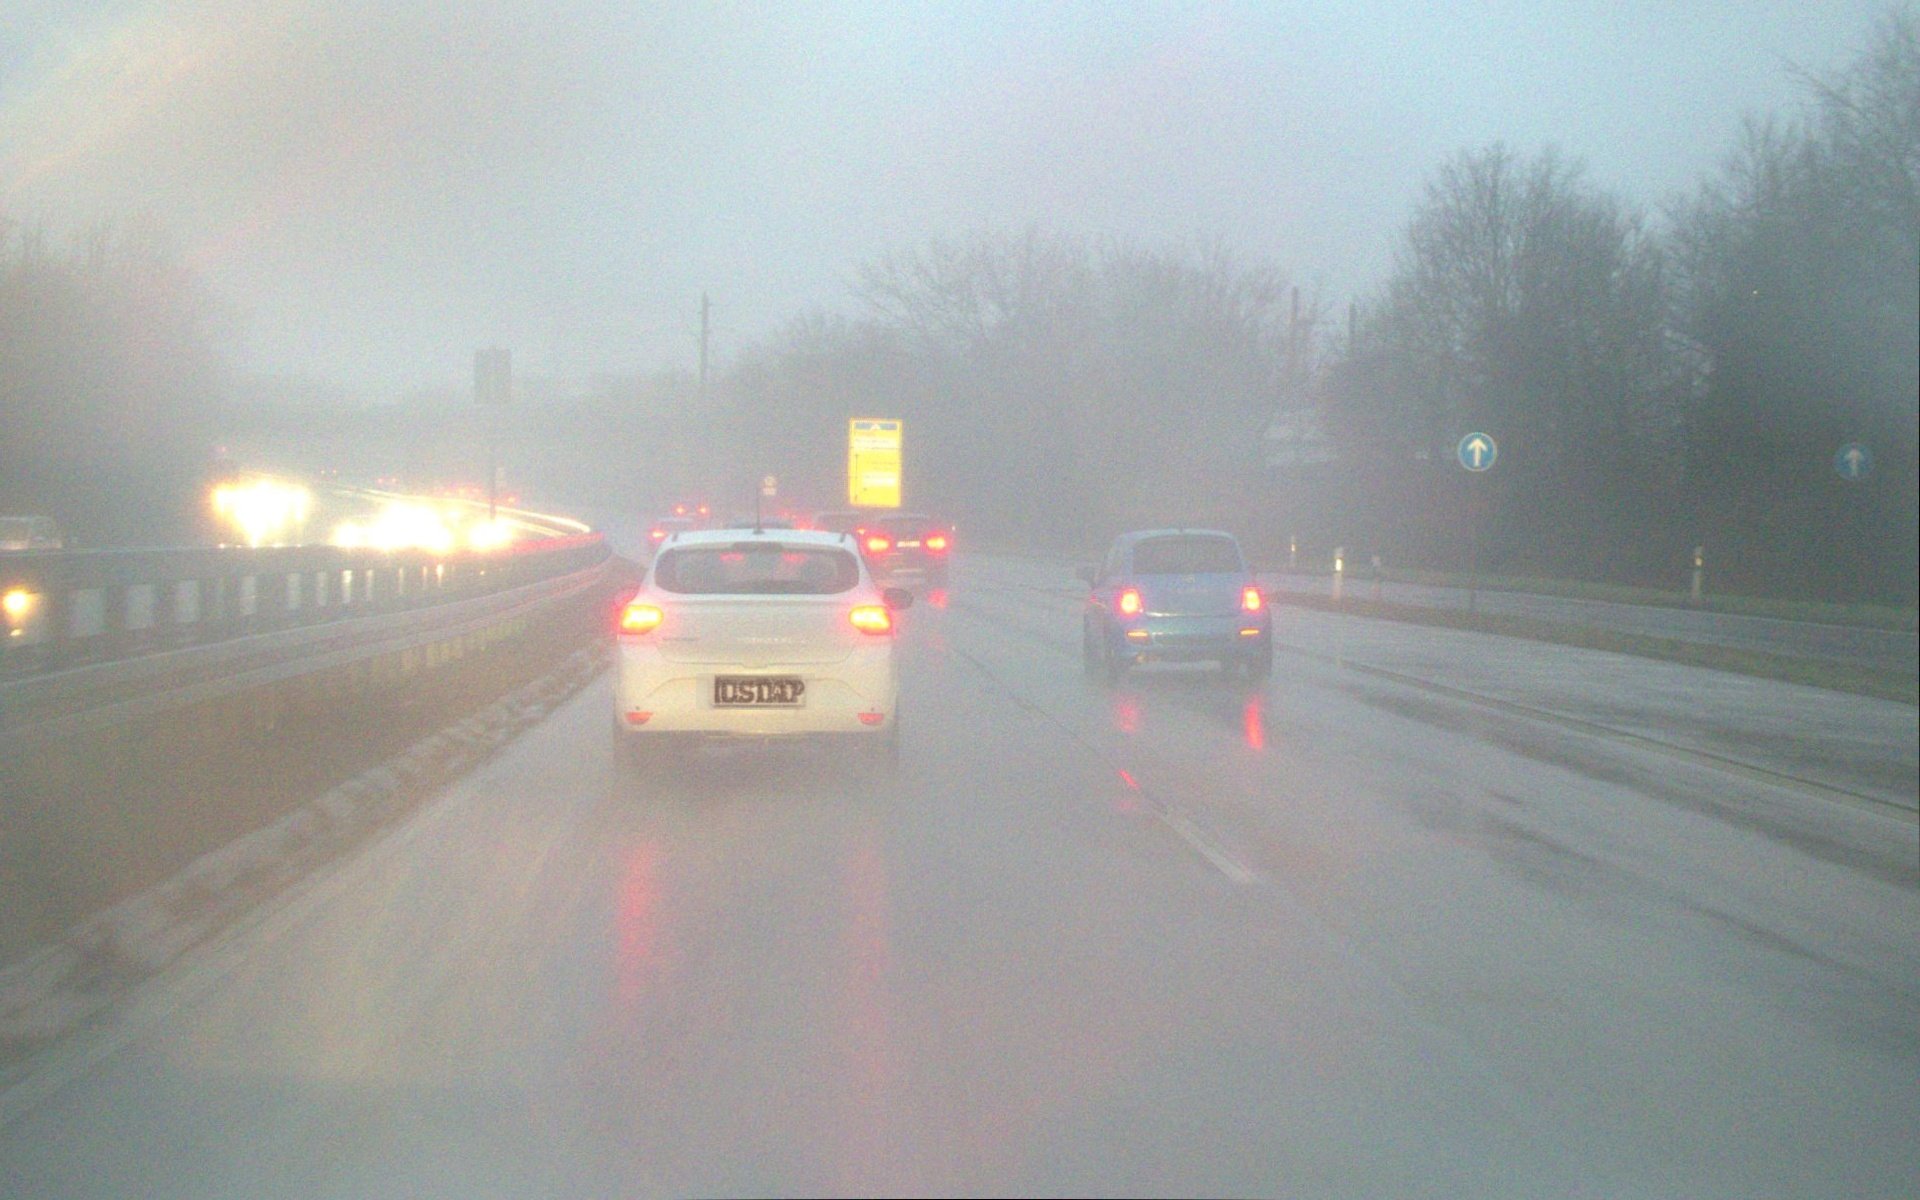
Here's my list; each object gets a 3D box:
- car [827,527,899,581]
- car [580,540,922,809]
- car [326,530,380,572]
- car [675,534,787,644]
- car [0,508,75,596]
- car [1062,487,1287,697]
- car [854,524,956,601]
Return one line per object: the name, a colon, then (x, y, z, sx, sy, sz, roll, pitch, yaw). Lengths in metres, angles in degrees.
car: (-2.860, -1.359, 100.509, 1.932, 1.541, 3.774, 1, 1, -4)
car: (-1.281, 0.412, 22.546, 2.024, 1.569, 4.000, 1, 1, -1)
car: (-23.660, -1.935, 134.116, 1.703, 1.561, 4.851, 1, 1, -5)
car: (-4.397, -0.237, 65.558, 1.993, 2.007, 4.001, 1, 1, -6)
car: (-21.568, -1.096, 76.771, 1.994, 1.907, 4.444, 1, 1, 7)
car: (2.138, -0.114, 35.248, 1.932, 2.012, 3.774, 1, 1, -2)
car: (-1.274, -0.845, 78.109, 1.932, 1.541, 3.774, -5, 1, -5)
